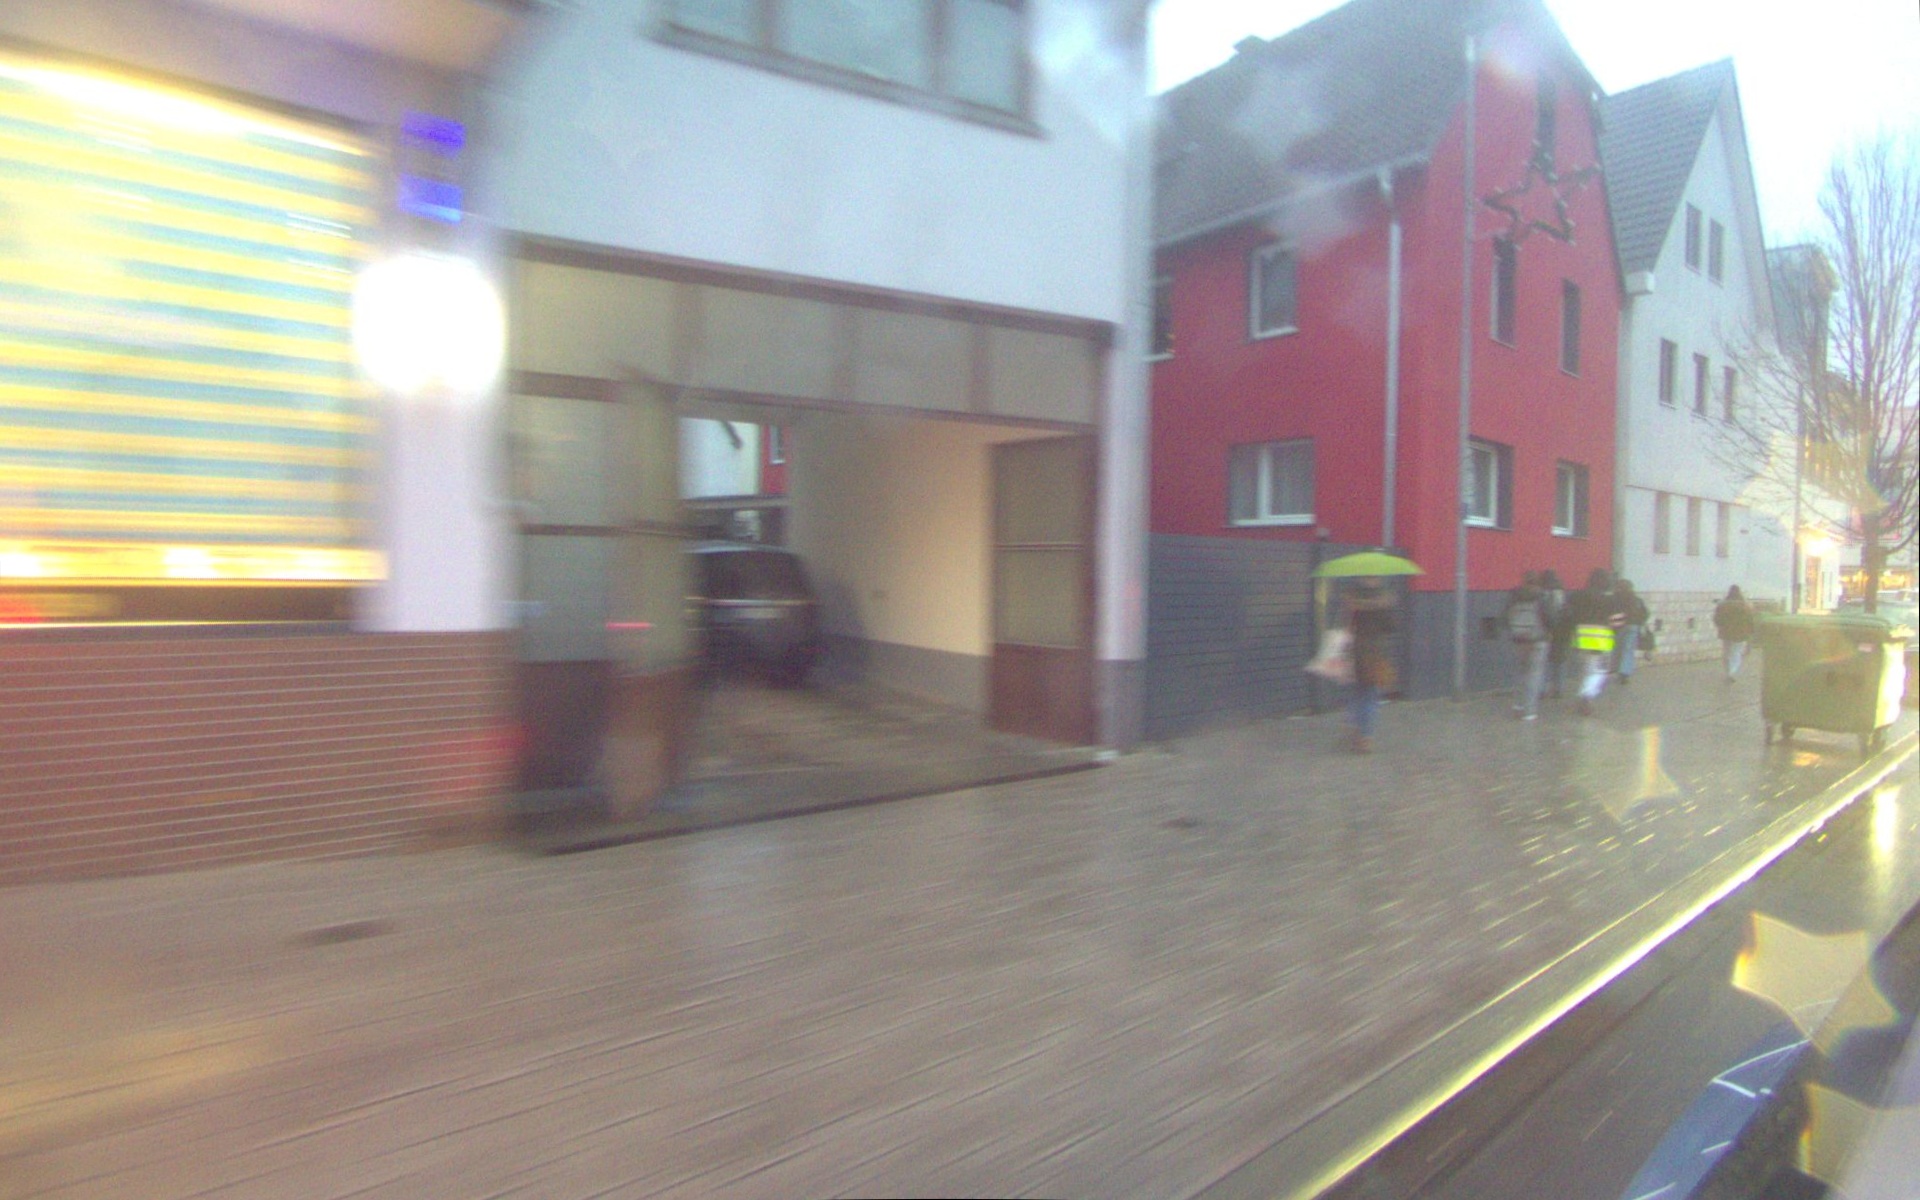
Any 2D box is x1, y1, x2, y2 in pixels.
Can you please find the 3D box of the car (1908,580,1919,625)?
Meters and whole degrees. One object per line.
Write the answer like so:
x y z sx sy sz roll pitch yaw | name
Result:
40.122 0.119 40.990 1.813 1.767 3.954 -1 2 34 | car

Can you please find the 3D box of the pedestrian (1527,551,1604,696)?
7.868 0.292 13.160 0.847 1.823 0.531 0 0 -32 | pedestrian

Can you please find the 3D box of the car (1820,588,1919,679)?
17.685 0.583 18.894 4.123 1.482 1.733 0 4 -40 | car

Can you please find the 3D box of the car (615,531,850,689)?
-2.978 0.041 12.557 1.850 1.613 4.007 1 2 -28 | car

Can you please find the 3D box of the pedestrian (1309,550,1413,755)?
3.452 0.422 8.686 0.616 1.647 0.895 1 -1 35 | pedestrian

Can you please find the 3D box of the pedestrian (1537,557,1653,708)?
7.625 0.369 12.161 1.013 1.736 0.716 1 1 -28 | pedestrian

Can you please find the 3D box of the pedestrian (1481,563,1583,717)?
6.400 0.428 11.326 0.998 1.650 0.482 1 1 -28 | pedestrian

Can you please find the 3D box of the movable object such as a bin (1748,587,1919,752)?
8.841 0.641 10.134 1.392 1.437 1.132 1 3 -39 | movable object such as a bin

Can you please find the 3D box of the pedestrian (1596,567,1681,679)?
10.772 0.347 16.067 1.032 1.699 0.749 1 2 -35 | pedestrian

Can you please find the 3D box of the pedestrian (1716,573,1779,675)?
13.556 0.392 17.420 0.935 1.673 0.531 -3 1 -31 | pedestrian
